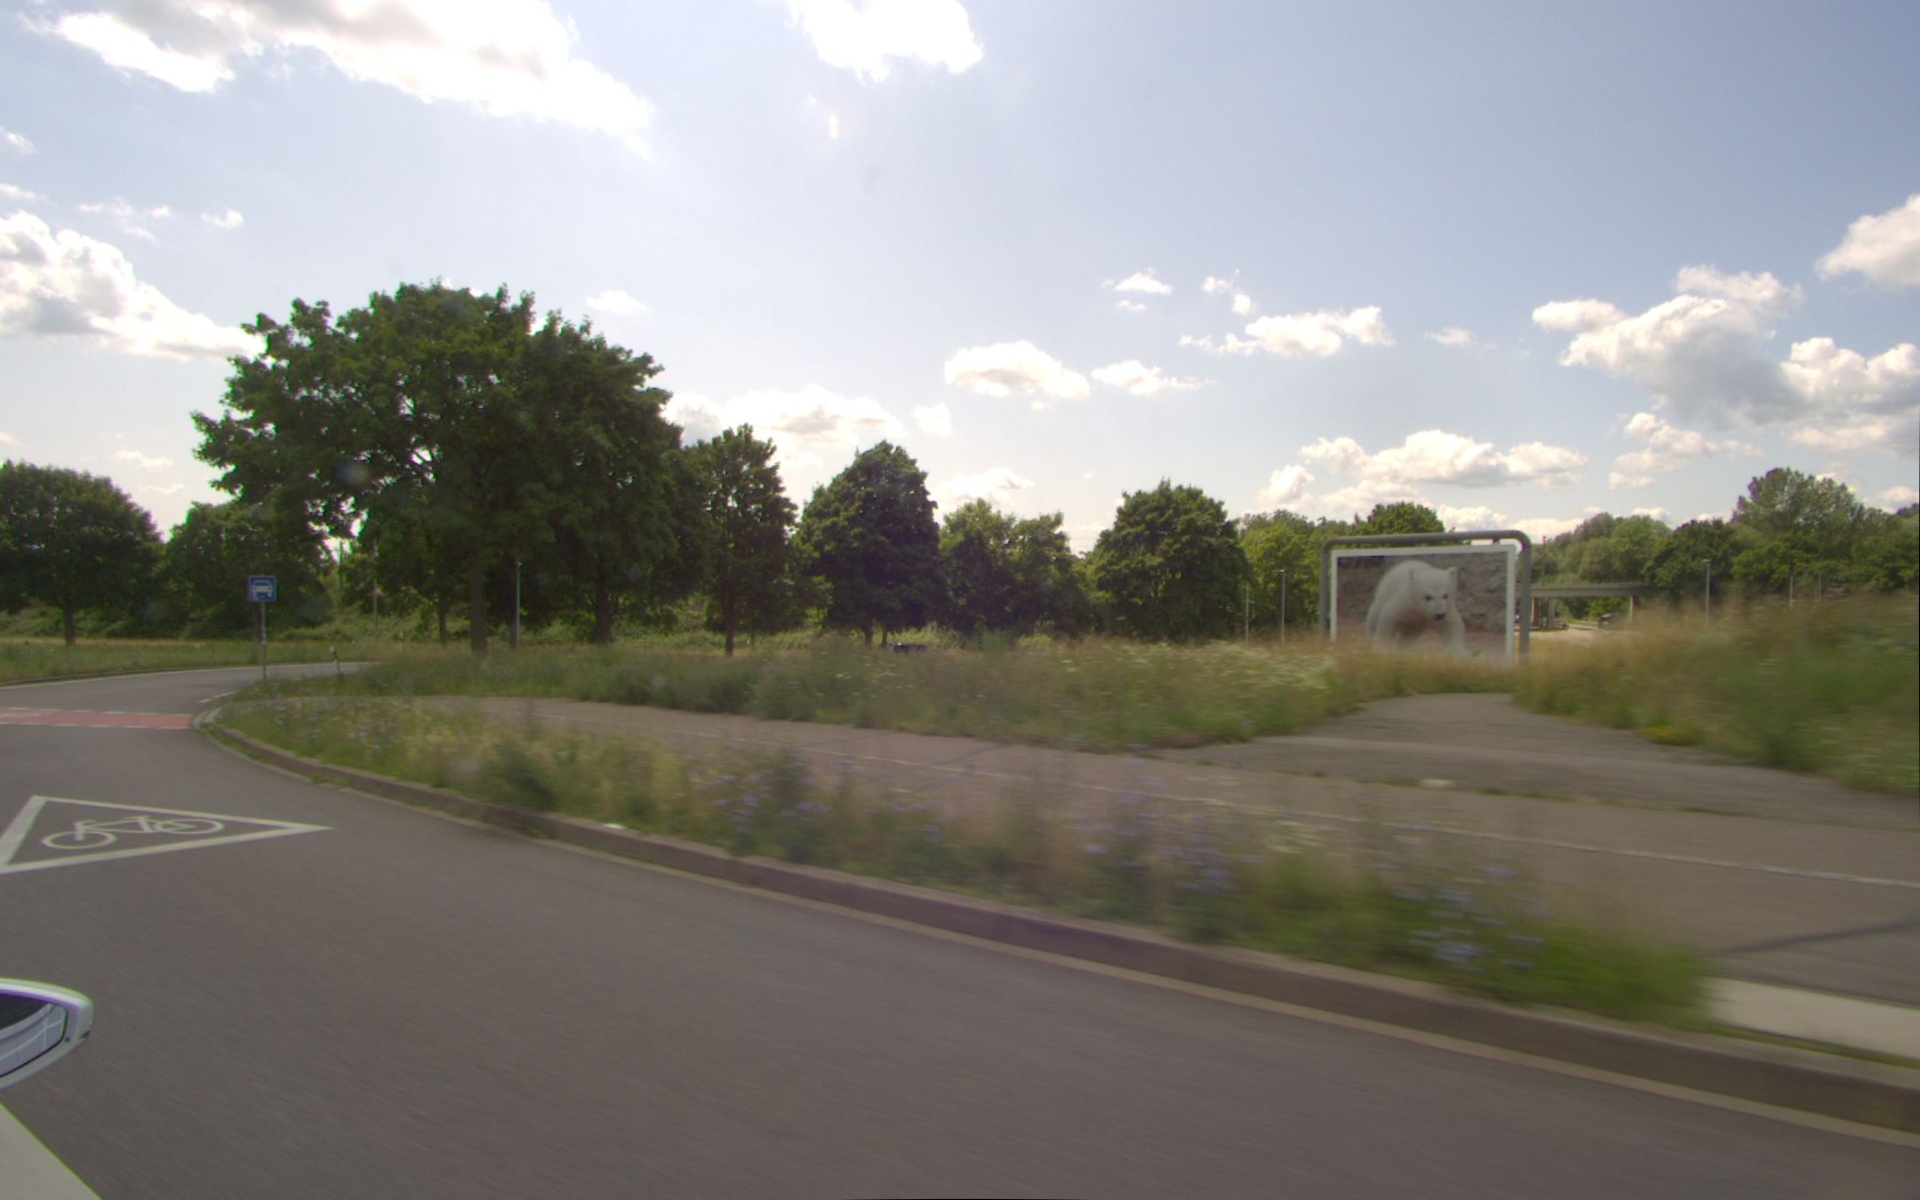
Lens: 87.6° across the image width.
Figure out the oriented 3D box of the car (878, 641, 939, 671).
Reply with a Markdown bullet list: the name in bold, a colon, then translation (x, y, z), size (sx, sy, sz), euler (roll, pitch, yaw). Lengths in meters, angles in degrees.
- **car**: translation (-3.712, 4.069, 72.252), size (3.934, 2.040, 1.994), euler (2, -1, -21)
